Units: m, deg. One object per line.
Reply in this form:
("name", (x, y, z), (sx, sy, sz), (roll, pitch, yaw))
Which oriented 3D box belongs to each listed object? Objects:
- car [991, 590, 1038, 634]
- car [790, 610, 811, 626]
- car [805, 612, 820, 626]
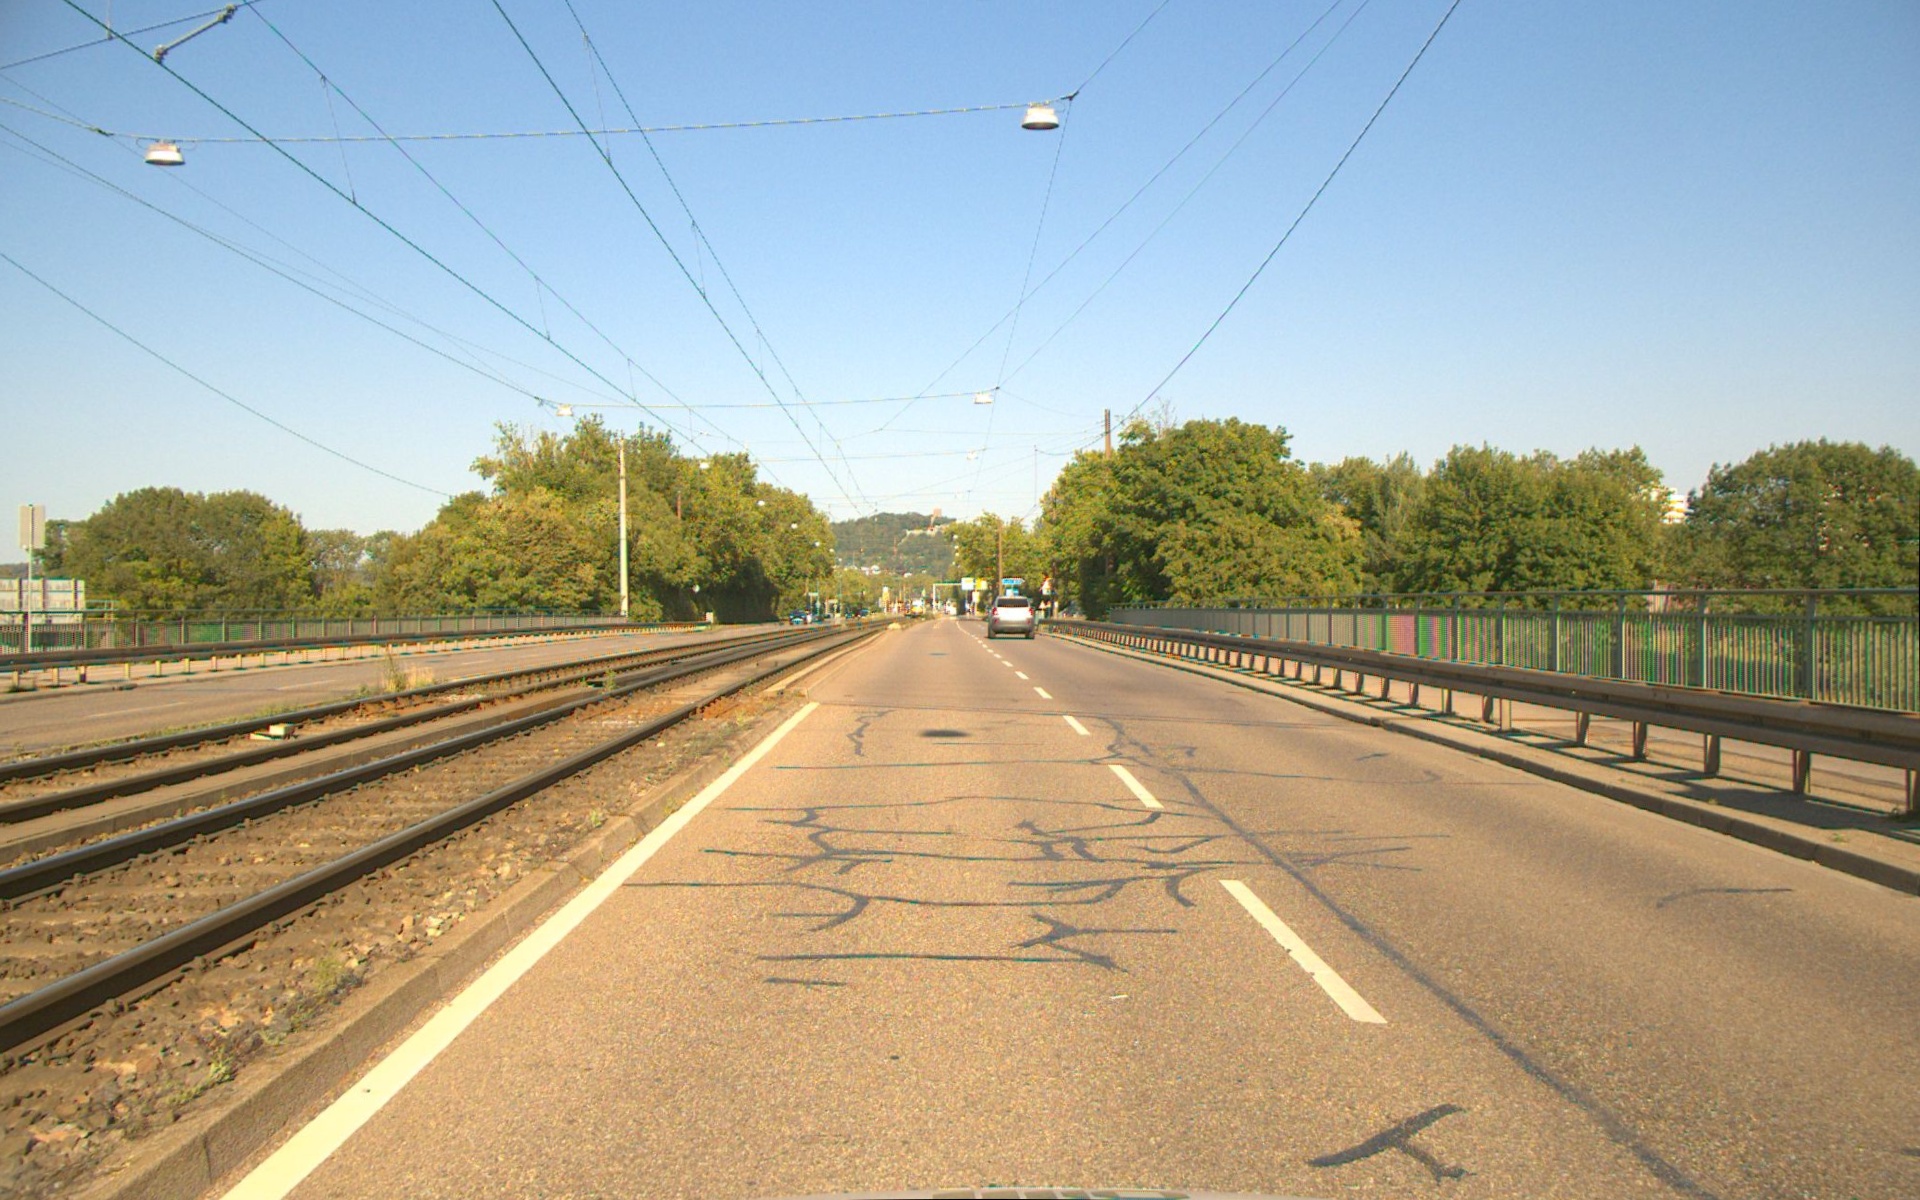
("car", (2.201, 0.462, 67.025), (1.849, 1.723, 4.257), (0, 0, 1))
("car", (-17.128, 1.959, 177.521), (1.953, 1.646, 3.999), (1, 0, -1))
("car", (-22.400, 2.840, 250.727), (1.947, 2.093, 3.945), (1, 0, -1))
